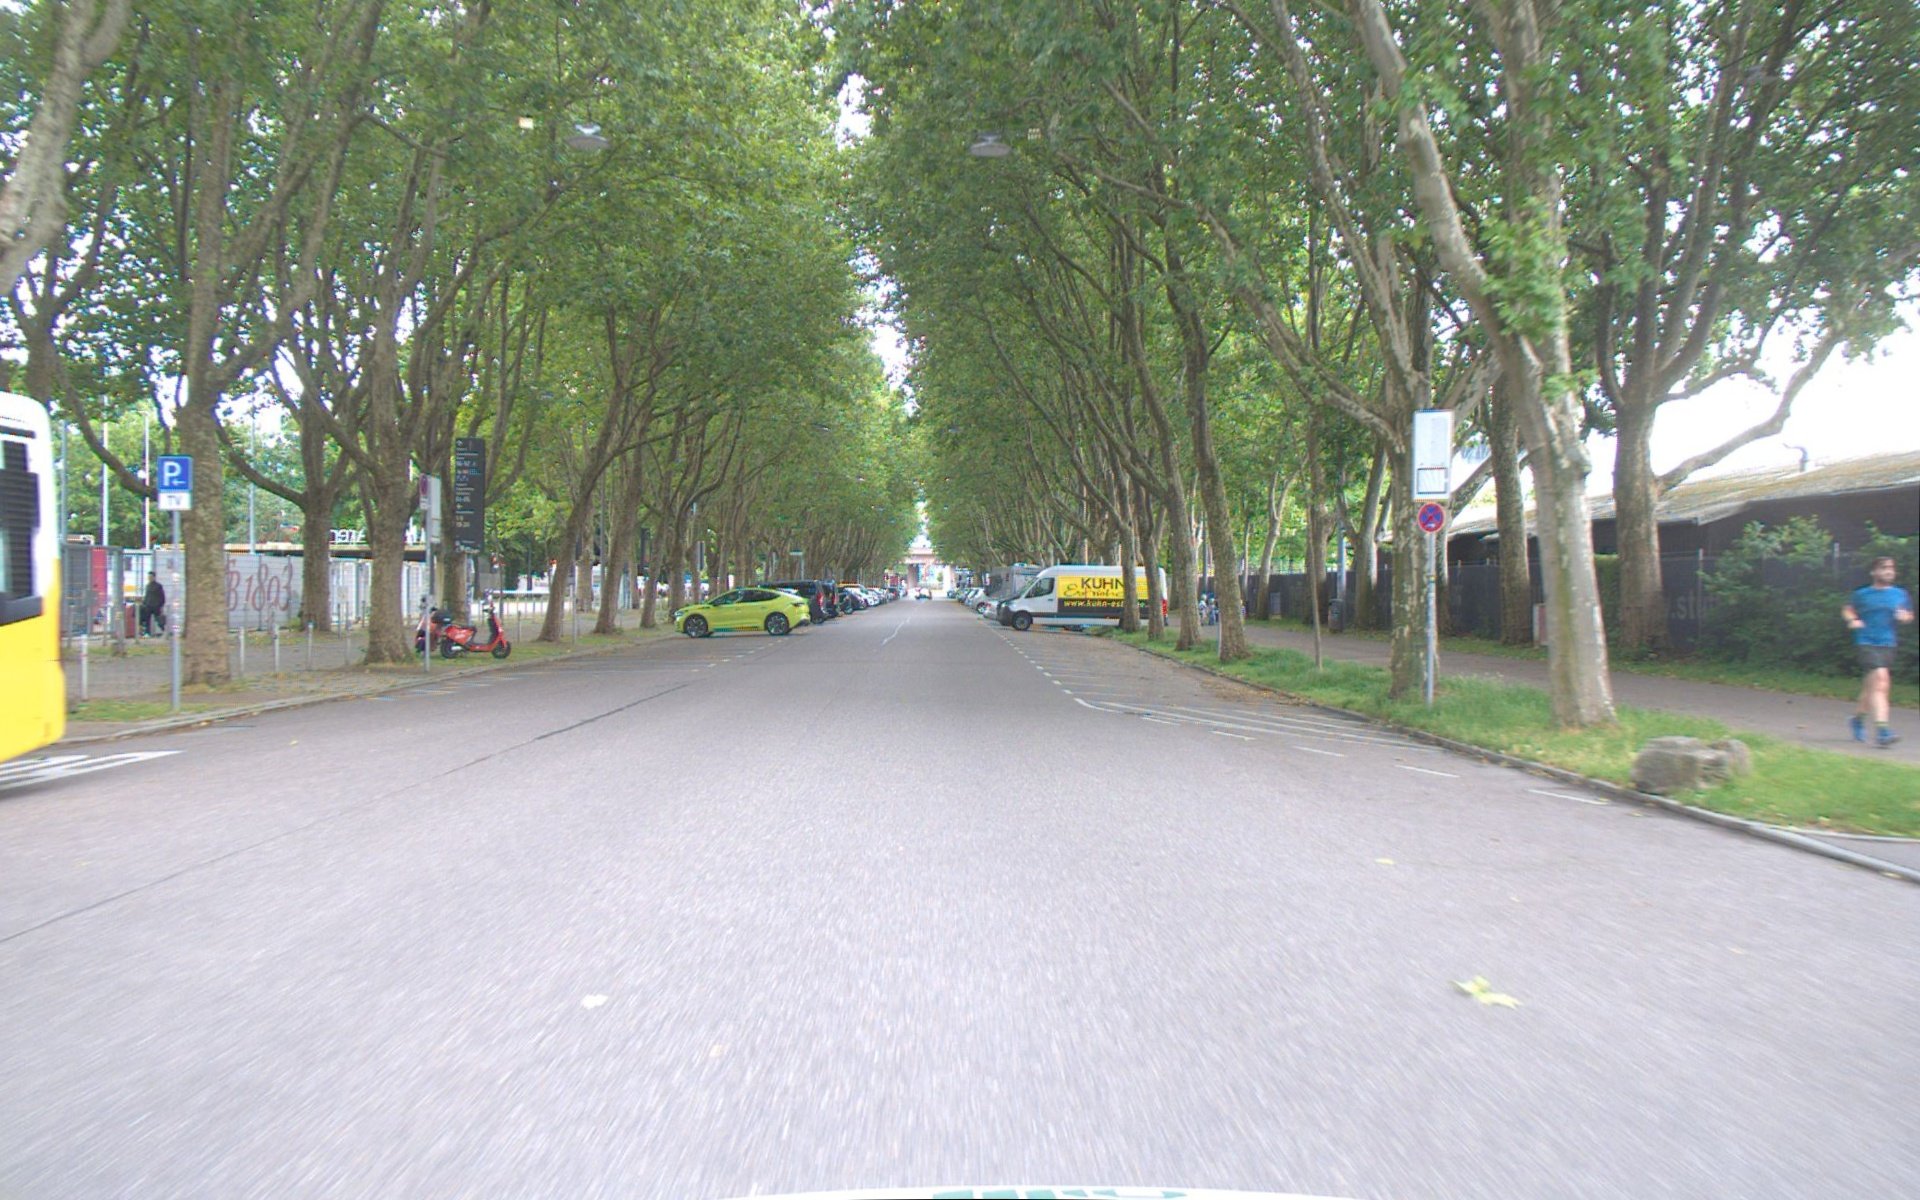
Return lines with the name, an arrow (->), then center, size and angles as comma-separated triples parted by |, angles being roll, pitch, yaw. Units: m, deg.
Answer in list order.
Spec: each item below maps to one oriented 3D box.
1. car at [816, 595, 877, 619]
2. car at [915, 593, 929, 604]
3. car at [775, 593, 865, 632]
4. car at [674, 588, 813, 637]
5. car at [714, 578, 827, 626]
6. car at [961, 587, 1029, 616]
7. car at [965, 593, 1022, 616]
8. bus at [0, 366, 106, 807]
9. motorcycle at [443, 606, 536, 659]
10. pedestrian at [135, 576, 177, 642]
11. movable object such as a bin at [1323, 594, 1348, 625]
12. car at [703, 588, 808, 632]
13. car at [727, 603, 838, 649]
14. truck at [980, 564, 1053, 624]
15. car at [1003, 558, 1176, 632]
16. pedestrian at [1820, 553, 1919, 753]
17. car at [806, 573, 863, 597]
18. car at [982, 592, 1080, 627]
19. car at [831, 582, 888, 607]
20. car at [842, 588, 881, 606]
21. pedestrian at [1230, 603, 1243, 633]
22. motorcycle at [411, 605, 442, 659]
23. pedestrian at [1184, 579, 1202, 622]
car -> -8.163, 0.482, 119.347 | 4.292, 1.625, 1.999 | -2, 0, -3
car -> -4.923, -0.229, 213.378 | 1.622, 1.388, 4.108 | -2, 0, -4
car -> -8.531, 0.766, 100.983 | 5.327, 2.165, 1.939 | -2, 1, -3
car -> -7.291, 0.406, 55.963 | 4.423, 1.646, 1.758 | 0, 0, 1
car -> -8.083, 0.080, 70.834 | 4.670, 1.958, 2.015 | -1, 0, -6
car -> 2.240, 0.121, 104.903 | 4.250, 1.646, 1.804 | 2, 0, 2
car -> 2.432, 0.352, 119.837 | 4.035, 1.454, 1.703 | 3, -1, 1
bus -> -8.328, -0.038, 7.191 | 2.597, 3.209, 12.369 | -3, 0, 1
motorcycle -> -10.732, 0.743, 37.802 | 0.565, 1.178, 2.064 | 1, 0, 42
pedestrian -> -21.949, 0.243, 45.172 | 0.690, 1.784, 0.874 | 1, 0, -1
movable object such as a bin -> 12.331, 0.297, 54.325 | 0.557, 0.975, 0.674 | -4, 0, -2
car -> -8.132, 0.389, 66.011 | 4.025, 1.596, 1.756 | -2, 0, -6
car -> -8.051, 1.167, 75.495 | 4.805, 1.958, 2.208 | -1, 0, 0
truck -> 2.907, -0.303, 87.335 | 2.413, 2.989, 7.522 | 1, 0, -9
car -> 5.119, -0.196, 66.100 | 6.739, 2.742, 2.127 | 1, 0, 0
pedestrian -> 9.675, 0.547, 17.541 | 0.694, 2.049, 0.882 | 1, 0, 8
car -> -9.664, -1.130, 127.199 | 4.254, 1.697, 1.999 | -2, 0, -3
car -> 3.157, 0.416, 73.625 | 4.268, 1.471, 1.613 | 1, 0, 3
car -> -8.649, -0.479, 142.357 | 4.795, 2.054, 1.919 | -2, 0, -2
car -> -9.467, -0.303, 159.125 | 3.751, 1.656, 1.951 | -1, 0, -4
pedestrian -> 10.352, 0.662, 61.982 | 0.387, 1.103, 0.419 | -2, 0, 3
motorcycle -> -12.157, 0.710, 37.650 | 0.565, 1.178, 2.065 | 1, 0, -20
pedestrian -> 9.781, 0.021, 69.389 | 0.626, 1.771, 0.621 | -2, 0, 2
